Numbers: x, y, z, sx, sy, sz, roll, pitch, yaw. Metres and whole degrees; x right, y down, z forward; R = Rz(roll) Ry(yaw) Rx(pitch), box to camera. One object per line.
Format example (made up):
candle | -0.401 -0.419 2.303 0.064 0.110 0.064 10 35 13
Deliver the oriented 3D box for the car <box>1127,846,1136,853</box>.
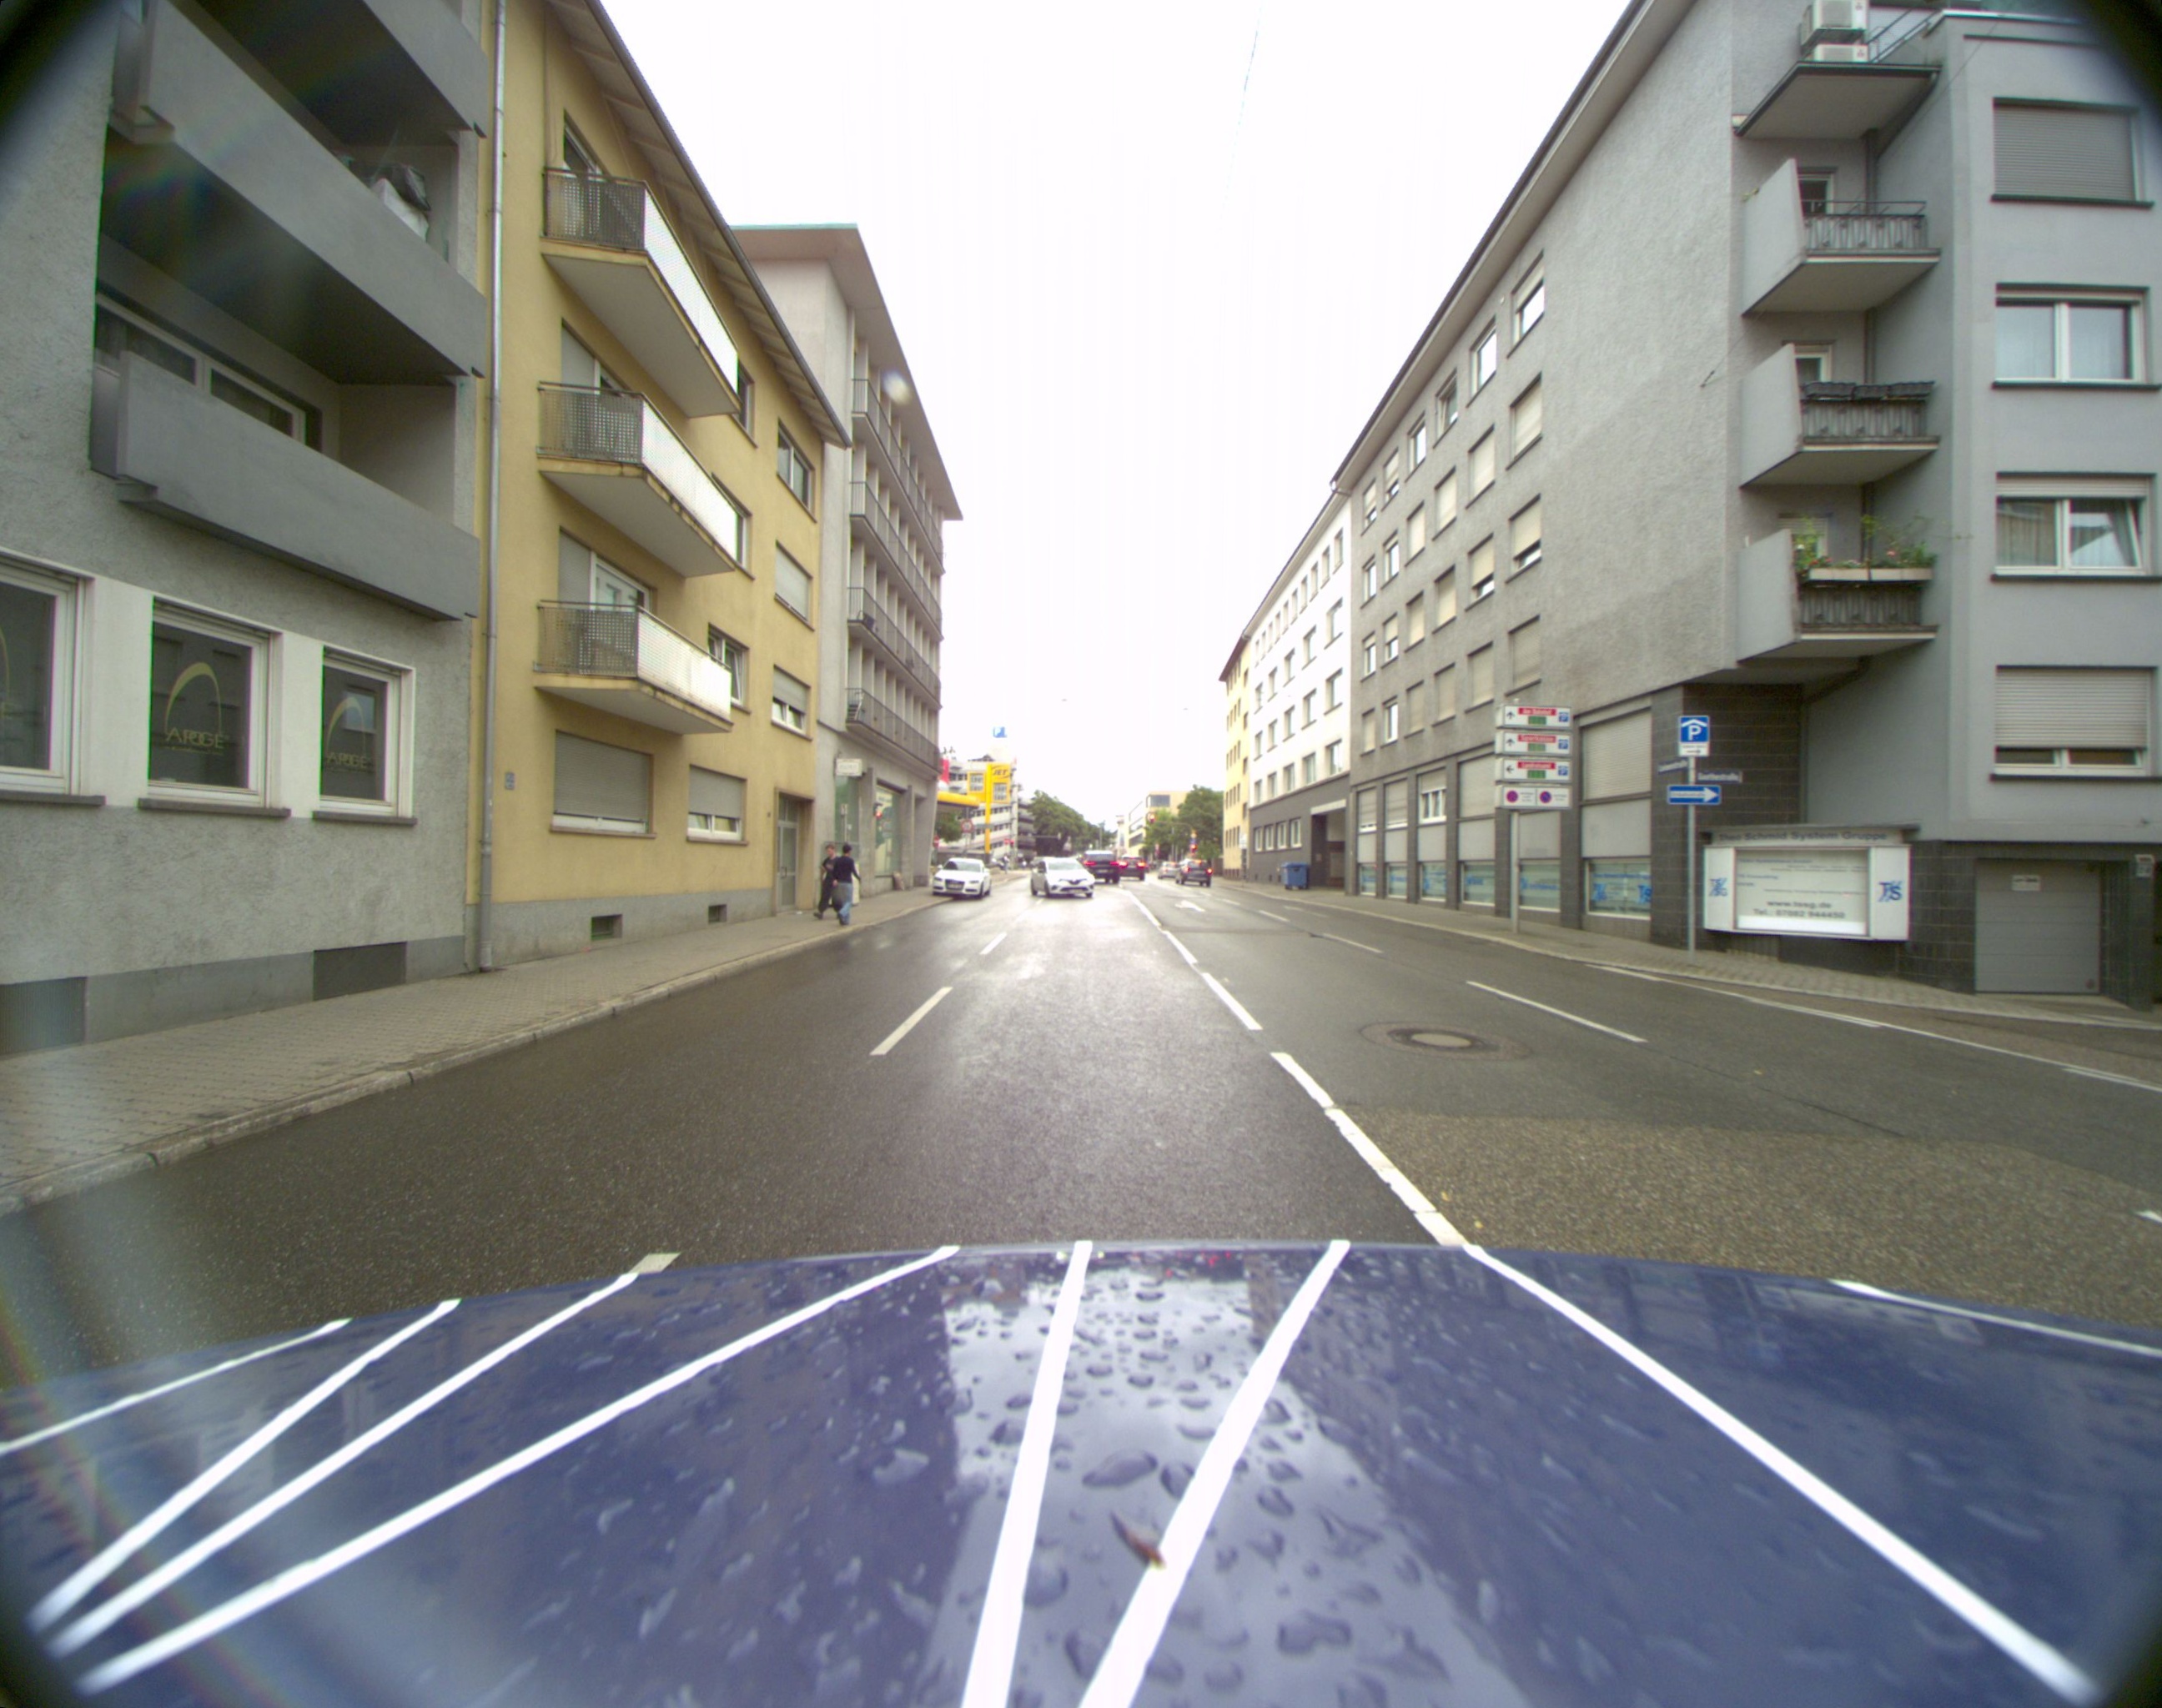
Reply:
car | 12.877 -1.124 192.917 1.998 1.683 4.000 -2 1 2

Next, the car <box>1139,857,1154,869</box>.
car | 9.573 1.298 111.866 1.883 1.580 4.373 0 0 1

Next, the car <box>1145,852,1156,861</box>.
car | 15.542 0.572 170.079 1.998 1.863 3.999 -2 1 0

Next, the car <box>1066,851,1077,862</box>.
car | -1.775 0.449 148.591 1.998 2.002 3.999 -2 1 0

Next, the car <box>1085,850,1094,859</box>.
car | 1.919 0.081 178.770 1.998 2.002 3.999 -2 1 1

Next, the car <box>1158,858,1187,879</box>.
car | 7.429 1.154 62.157 1.883 1.580 4.373 0 0 1

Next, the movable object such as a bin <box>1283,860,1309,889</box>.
movable object such as a bin | 10.413 0.990 36.825 0.946 1.325 1.096 -3 1 1

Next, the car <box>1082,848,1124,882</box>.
car | 1.150 0.588 42.230 2.132 1.711 4.817 2 0 0

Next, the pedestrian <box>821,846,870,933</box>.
pedestrian | -4.981 0.733 16.139 0.644 1.768 1.056 3 1 0

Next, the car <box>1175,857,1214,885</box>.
car | 6.812 0.972 46.015 1.707 1.498 4.159 3 0 0

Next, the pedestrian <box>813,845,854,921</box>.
pedestrian | -5.786 0.663 17.795 0.679 1.745 0.888 1 1 -3

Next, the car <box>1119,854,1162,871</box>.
car | 6.088 0.860 77.446 4.001 1.485 1.770 -2 1 -13

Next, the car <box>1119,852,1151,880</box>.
car | 3.635 0.797 52.043 1.841 1.717 4.474 3 0 0

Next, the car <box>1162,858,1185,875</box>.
car | 9.901 1.288 81.203 1.998 1.672 4.000 1 0 1

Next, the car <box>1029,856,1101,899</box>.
car | -0.684 0.835 28.898 1.773 1.465 3.995 -2 0 -15

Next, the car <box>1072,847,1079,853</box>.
car | -1.858 -1.364 257.754 1.998 1.827 3.999 -2 1 1

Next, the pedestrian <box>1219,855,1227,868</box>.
pedestrian | 13.077 0.671 69.879 0.582 1.143 0.407 3 1 2

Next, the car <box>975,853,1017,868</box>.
car | -8.985 0.710 80.638 3.994 1.436 1.773 -2 1 10

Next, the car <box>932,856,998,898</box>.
car | -4.358 0.833 29.093 1.803 1.427 4.166 1 0 1
